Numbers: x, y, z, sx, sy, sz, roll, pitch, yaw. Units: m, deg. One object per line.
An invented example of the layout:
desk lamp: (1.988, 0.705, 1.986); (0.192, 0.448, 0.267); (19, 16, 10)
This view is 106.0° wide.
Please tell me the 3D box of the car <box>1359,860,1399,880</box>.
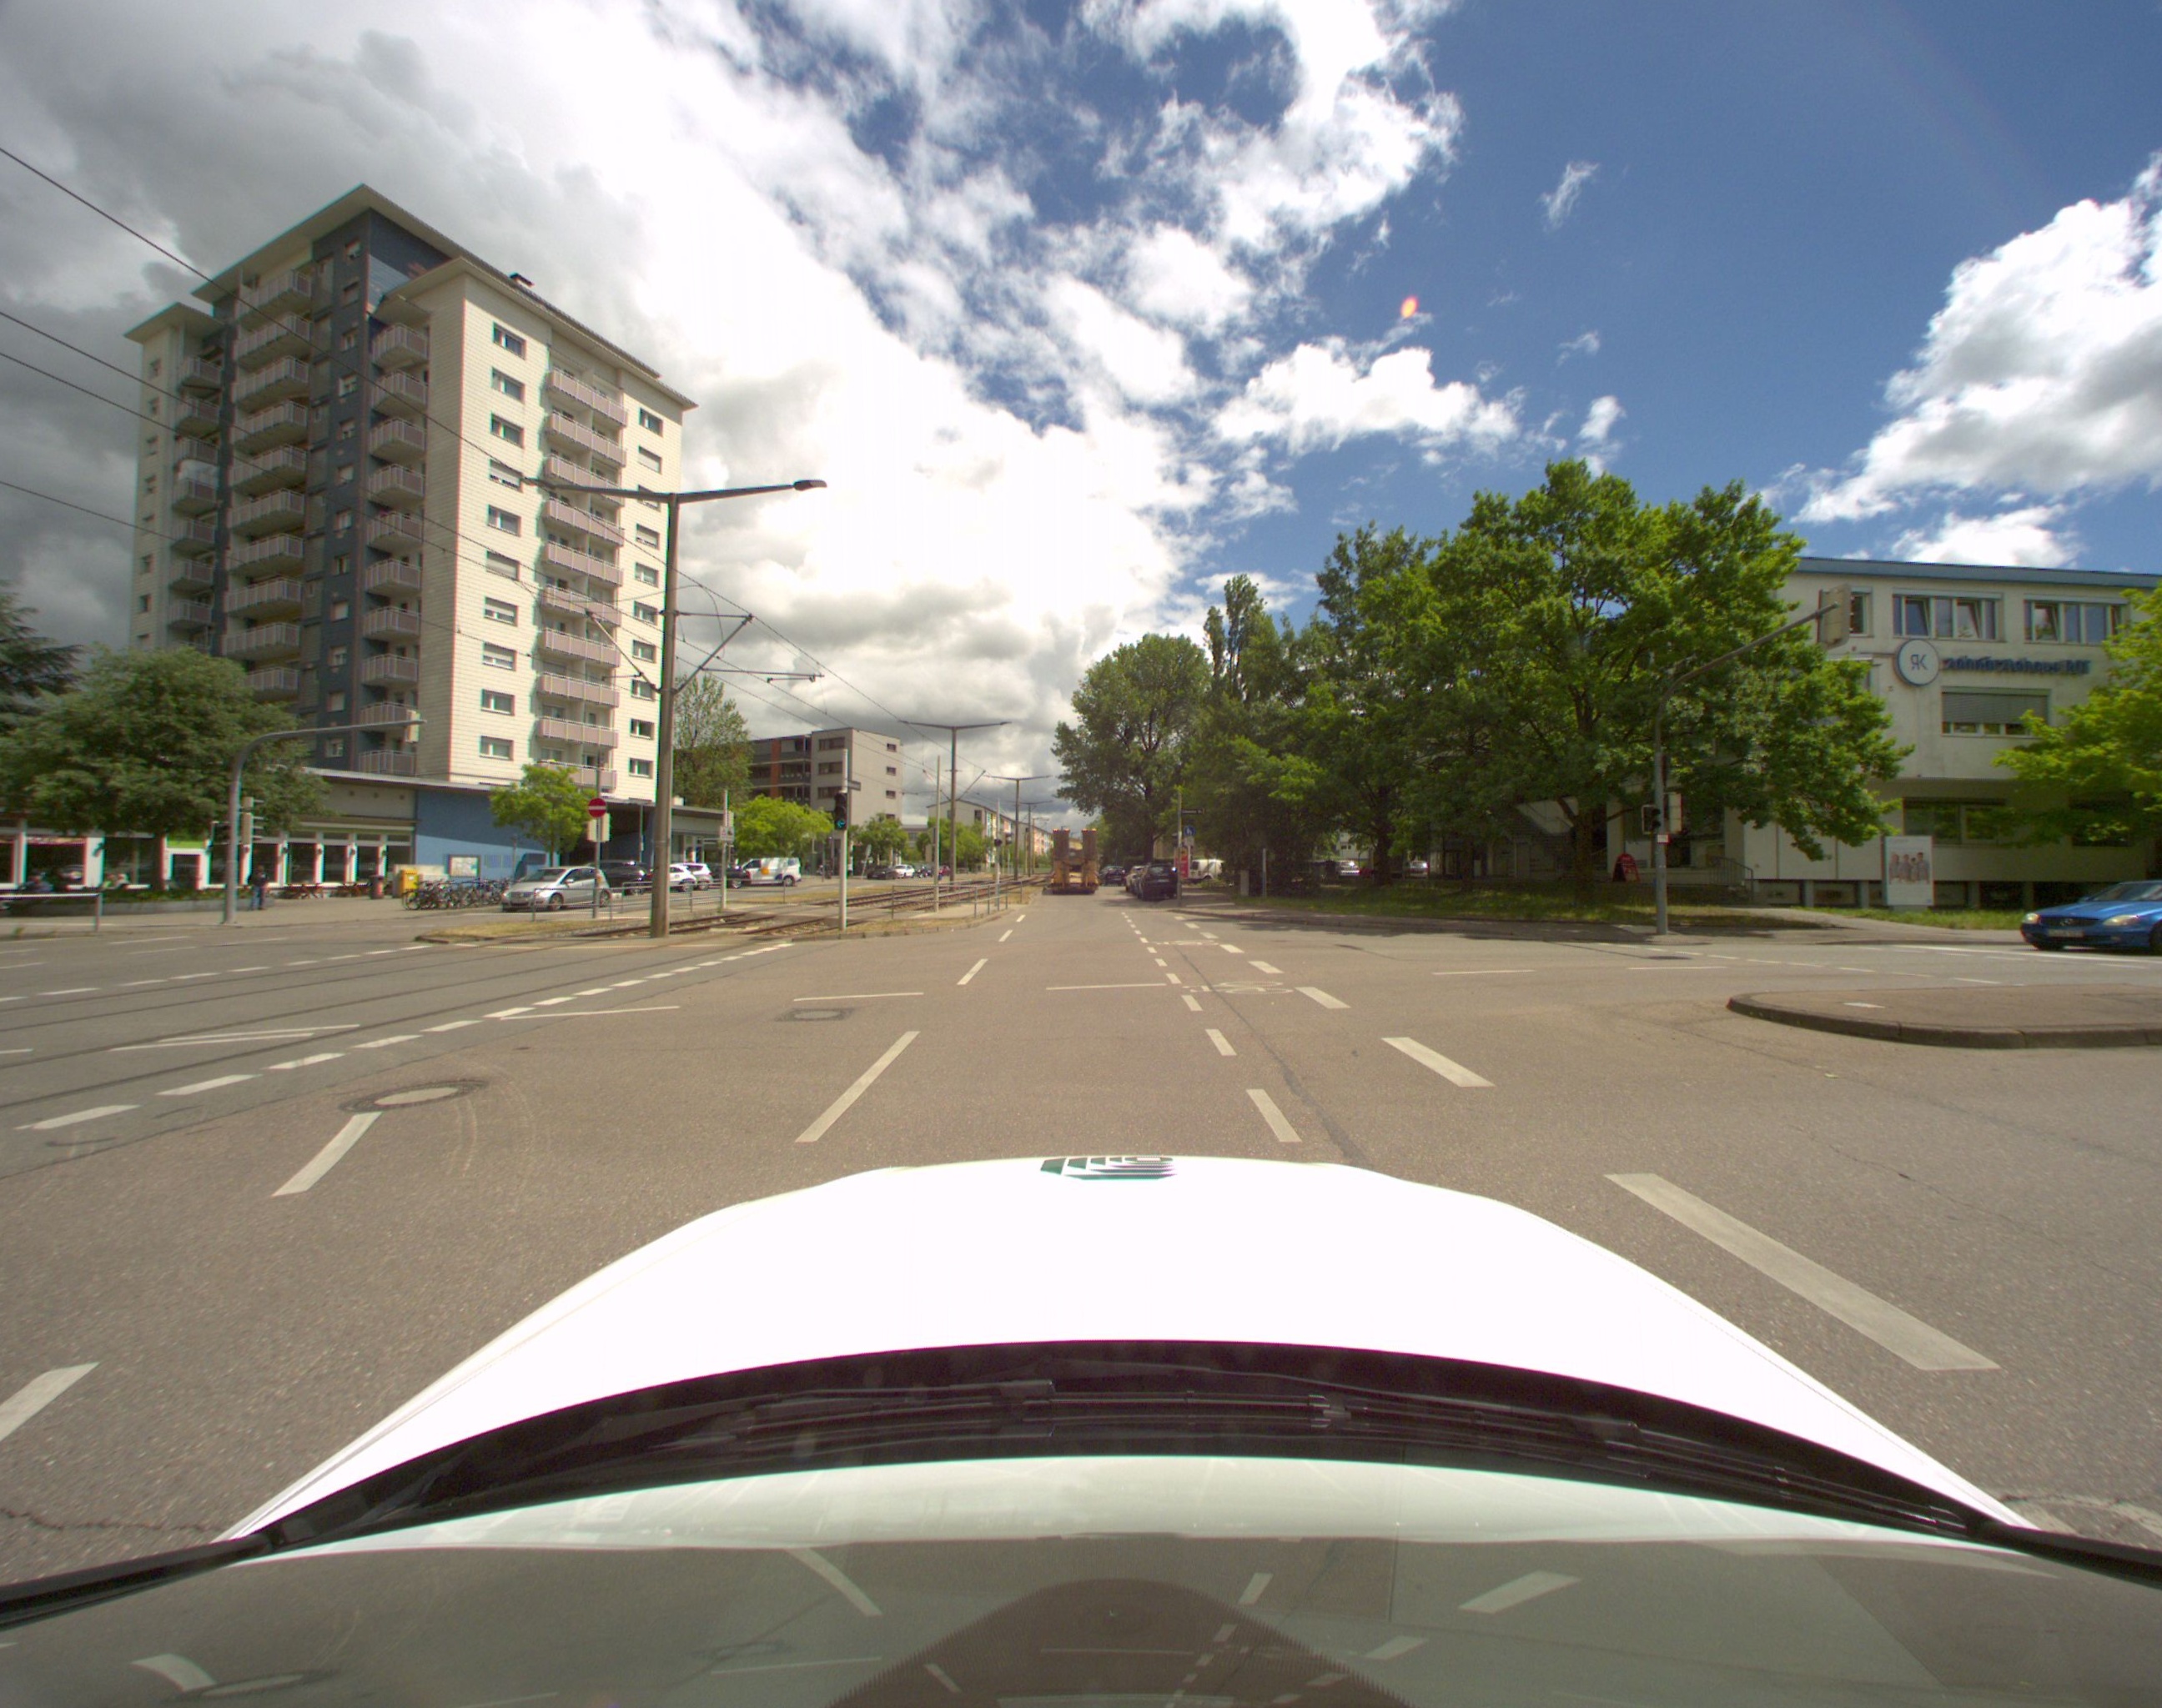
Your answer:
car: (22.415, 1.194, 61.420); (1.736, 1.443, 4.003); (-1, 0, 3)

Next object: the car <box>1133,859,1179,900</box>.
car: (3.461, 1.147, 38.261); (1.639, 1.762, 4.567); (-1, 0, -1)

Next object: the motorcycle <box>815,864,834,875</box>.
motorcycle: (-28.146, 1.673, 89.405); (1.886, 1.178, 0.741); (-1, 0, -2)

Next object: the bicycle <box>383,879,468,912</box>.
bicycle: (-22.845, 1.439, 28.414); (2.417, 1.066, 0.705); (-1, 0, 2)

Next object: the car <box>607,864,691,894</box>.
car: (-23.350, 1.337, 44.055); (3.785, 1.496, 1.727); (-1, 0, -39)

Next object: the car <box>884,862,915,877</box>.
car: (-18.976, 1.564, 85.366); (1.745, 1.475, 4.408); (-1, 0, 7)

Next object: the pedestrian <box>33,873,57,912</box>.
pedestrian: (-39.535, 1.461, 31.078); (0.565, 1.472, 0.529); (-1, 0, 34)

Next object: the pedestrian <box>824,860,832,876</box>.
pedestrian: (-24.717, 1.332, 79.581); (0.667, 1.573, 0.682); (-1, 0, -26)

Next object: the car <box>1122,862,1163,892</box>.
car: (3.539, 1.299, 47.508); (1.780, 1.565, 4.563); (-1, 0, -4)

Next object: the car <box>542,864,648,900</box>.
car: (-23.315, 1.297, 39.122); (1.908, 1.591, 4.024); (-1, 0, 44)

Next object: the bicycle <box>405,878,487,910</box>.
bicycle: (-22.774, 1.439, 29.211); (2.417, 1.066, 0.705); (-1, 0, 2)

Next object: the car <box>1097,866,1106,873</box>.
car: (4.410, 3.317, 174.449); (1.986, 1.387, 4.001); (-1, 0, 1)

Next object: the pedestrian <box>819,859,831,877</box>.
pedestrian: (-23.756, 1.274, 75.703); (0.834, 1.650, 0.615); (0, 0, 14)

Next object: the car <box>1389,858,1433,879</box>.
car: (24.790, 1.064, 61.384); (1.737, 1.470, 4.000); (-1, 0, 1)

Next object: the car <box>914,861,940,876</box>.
car: (-18.441, 1.718, 97.717); (1.984, 1.648, 4.104); (-1, 0, 4)

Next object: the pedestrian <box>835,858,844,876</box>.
pedestrian: (-23.686, 1.284, 79.961); (0.609, 1.792, 0.843); (-1, 0, 1)

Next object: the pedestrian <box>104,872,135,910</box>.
pedestrian: (-37.511, 1.432, 31.787); (0.522, 1.472, 0.573); (-1, 0, 5)

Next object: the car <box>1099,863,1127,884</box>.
car: (2.347, 1.407, 60.706); (1.811, 1.449, 3.823); (-1, 0, -2)

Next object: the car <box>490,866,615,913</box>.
car: (-18.901, 1.221, 29.348); (1.809, 1.533, 3.760); (-1, 0, 5)

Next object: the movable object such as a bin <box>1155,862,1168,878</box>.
movable object such as a bin: (7.622, 1.505, 77.237); (1.095, 1.439, 0.761); (-1, 0, -1)

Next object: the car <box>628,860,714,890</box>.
car: (-23.594, 1.179, 46.960); (4.023, 1.632, 1.883); (-1, 0, -45)

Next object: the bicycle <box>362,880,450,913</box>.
bicycle: (-22.877, 1.439, 27.630); (2.417, 1.066, 0.705); (-1, 0, 2)

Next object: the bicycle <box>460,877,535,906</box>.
bicycle: (-22.646, 1.441, 31.646); (2.417, 1.066, 0.705); (-1, 0, 2)

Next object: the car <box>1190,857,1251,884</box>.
car: (9.996, 1.180, 58.436); (4.003, 1.823, 1.797); (-1, 0, -23)

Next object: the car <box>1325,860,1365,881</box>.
car: (19.923, 1.222, 61.670); (1.932, 1.490, 4.003); (-1, 0, 3)

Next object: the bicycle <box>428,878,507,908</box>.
bicycle: (-22.701, 1.440, 30.140); (2.417, 1.066, 0.705); (-1, 0, 2)

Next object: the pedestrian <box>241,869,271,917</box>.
pedestrian: (-29.108, 1.361, 28.744); (0.415, 1.643, 0.600); (-1, 0, 0)

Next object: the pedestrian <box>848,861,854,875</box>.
pedestrian: (-24.775, 1.504, 87.751); (0.500, 1.460, 0.556); (-1, 0, -26)

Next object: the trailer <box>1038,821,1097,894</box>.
trailer: (-0.779, 0.197, 48.357); (3.041, 3.773, 11.607); (-1, 0, -1)

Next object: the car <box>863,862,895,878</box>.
car: (-19.418, 1.531, 78.413); (1.727, 1.428, 4.385); (-1, -1, 4)

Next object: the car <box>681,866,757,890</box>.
car: (-22.666, 1.454, 51.062); (4.021, 1.383, 1.884); (-1, 0, -40)

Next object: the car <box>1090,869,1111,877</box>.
car: (3.733, 3.596, 155.806); (3.573, 1.584, 2.007); (-1, -2, 13)

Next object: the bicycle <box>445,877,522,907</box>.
bicycle: (-22.652, 1.440, 30.872); (2.417, 1.066, 0.705); (-1, 0, 2)

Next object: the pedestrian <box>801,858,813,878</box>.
pedestrian: (-25.921, 1.313, 77.054); (0.846, 1.792, 0.866); (-1, 0, -29)

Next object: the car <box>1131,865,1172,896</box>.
car: (3.660, 1.337, 42.766); (1.640, 1.458, 4.072); (-1, 0, -2)

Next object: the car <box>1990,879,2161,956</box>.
car: (19.047, 1.061, 14.423); (3.952, 1.225, 1.910); (-1, -3, -5)

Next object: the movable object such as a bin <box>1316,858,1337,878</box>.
movable object such as a bin: (17.834, 0.980, 59.156); (1.112, 1.430, 1.285); (-1, 0, -2)

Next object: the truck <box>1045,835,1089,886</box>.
truck: (-0.970, 0.434, 57.469); (2.825, 3.330, 7.981); (-1, 0, -1)

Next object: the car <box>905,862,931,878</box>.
car: (-17.956, 1.733, 89.813); (1.987, 1.662, 4.098); (1, 0, -1)

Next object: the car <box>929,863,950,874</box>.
car: (-18.150, 1.841, 104.452); (1.604, 1.426, 3.430); (-1, 0, 8)

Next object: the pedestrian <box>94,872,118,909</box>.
pedestrian: (-38.901, 1.454, 32.508); (0.565, 1.472, 0.529); (-1, 0, 31)

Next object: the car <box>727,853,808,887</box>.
car: (-21.339, 1.047, 55.454); (4.786, 2.156, 1.884); (-1, 0, -40)

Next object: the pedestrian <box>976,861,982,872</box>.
pedestrian: (-15.946, 1.986, 127.336); (0.746, 1.662, 0.870); (-1, 0, 5)
